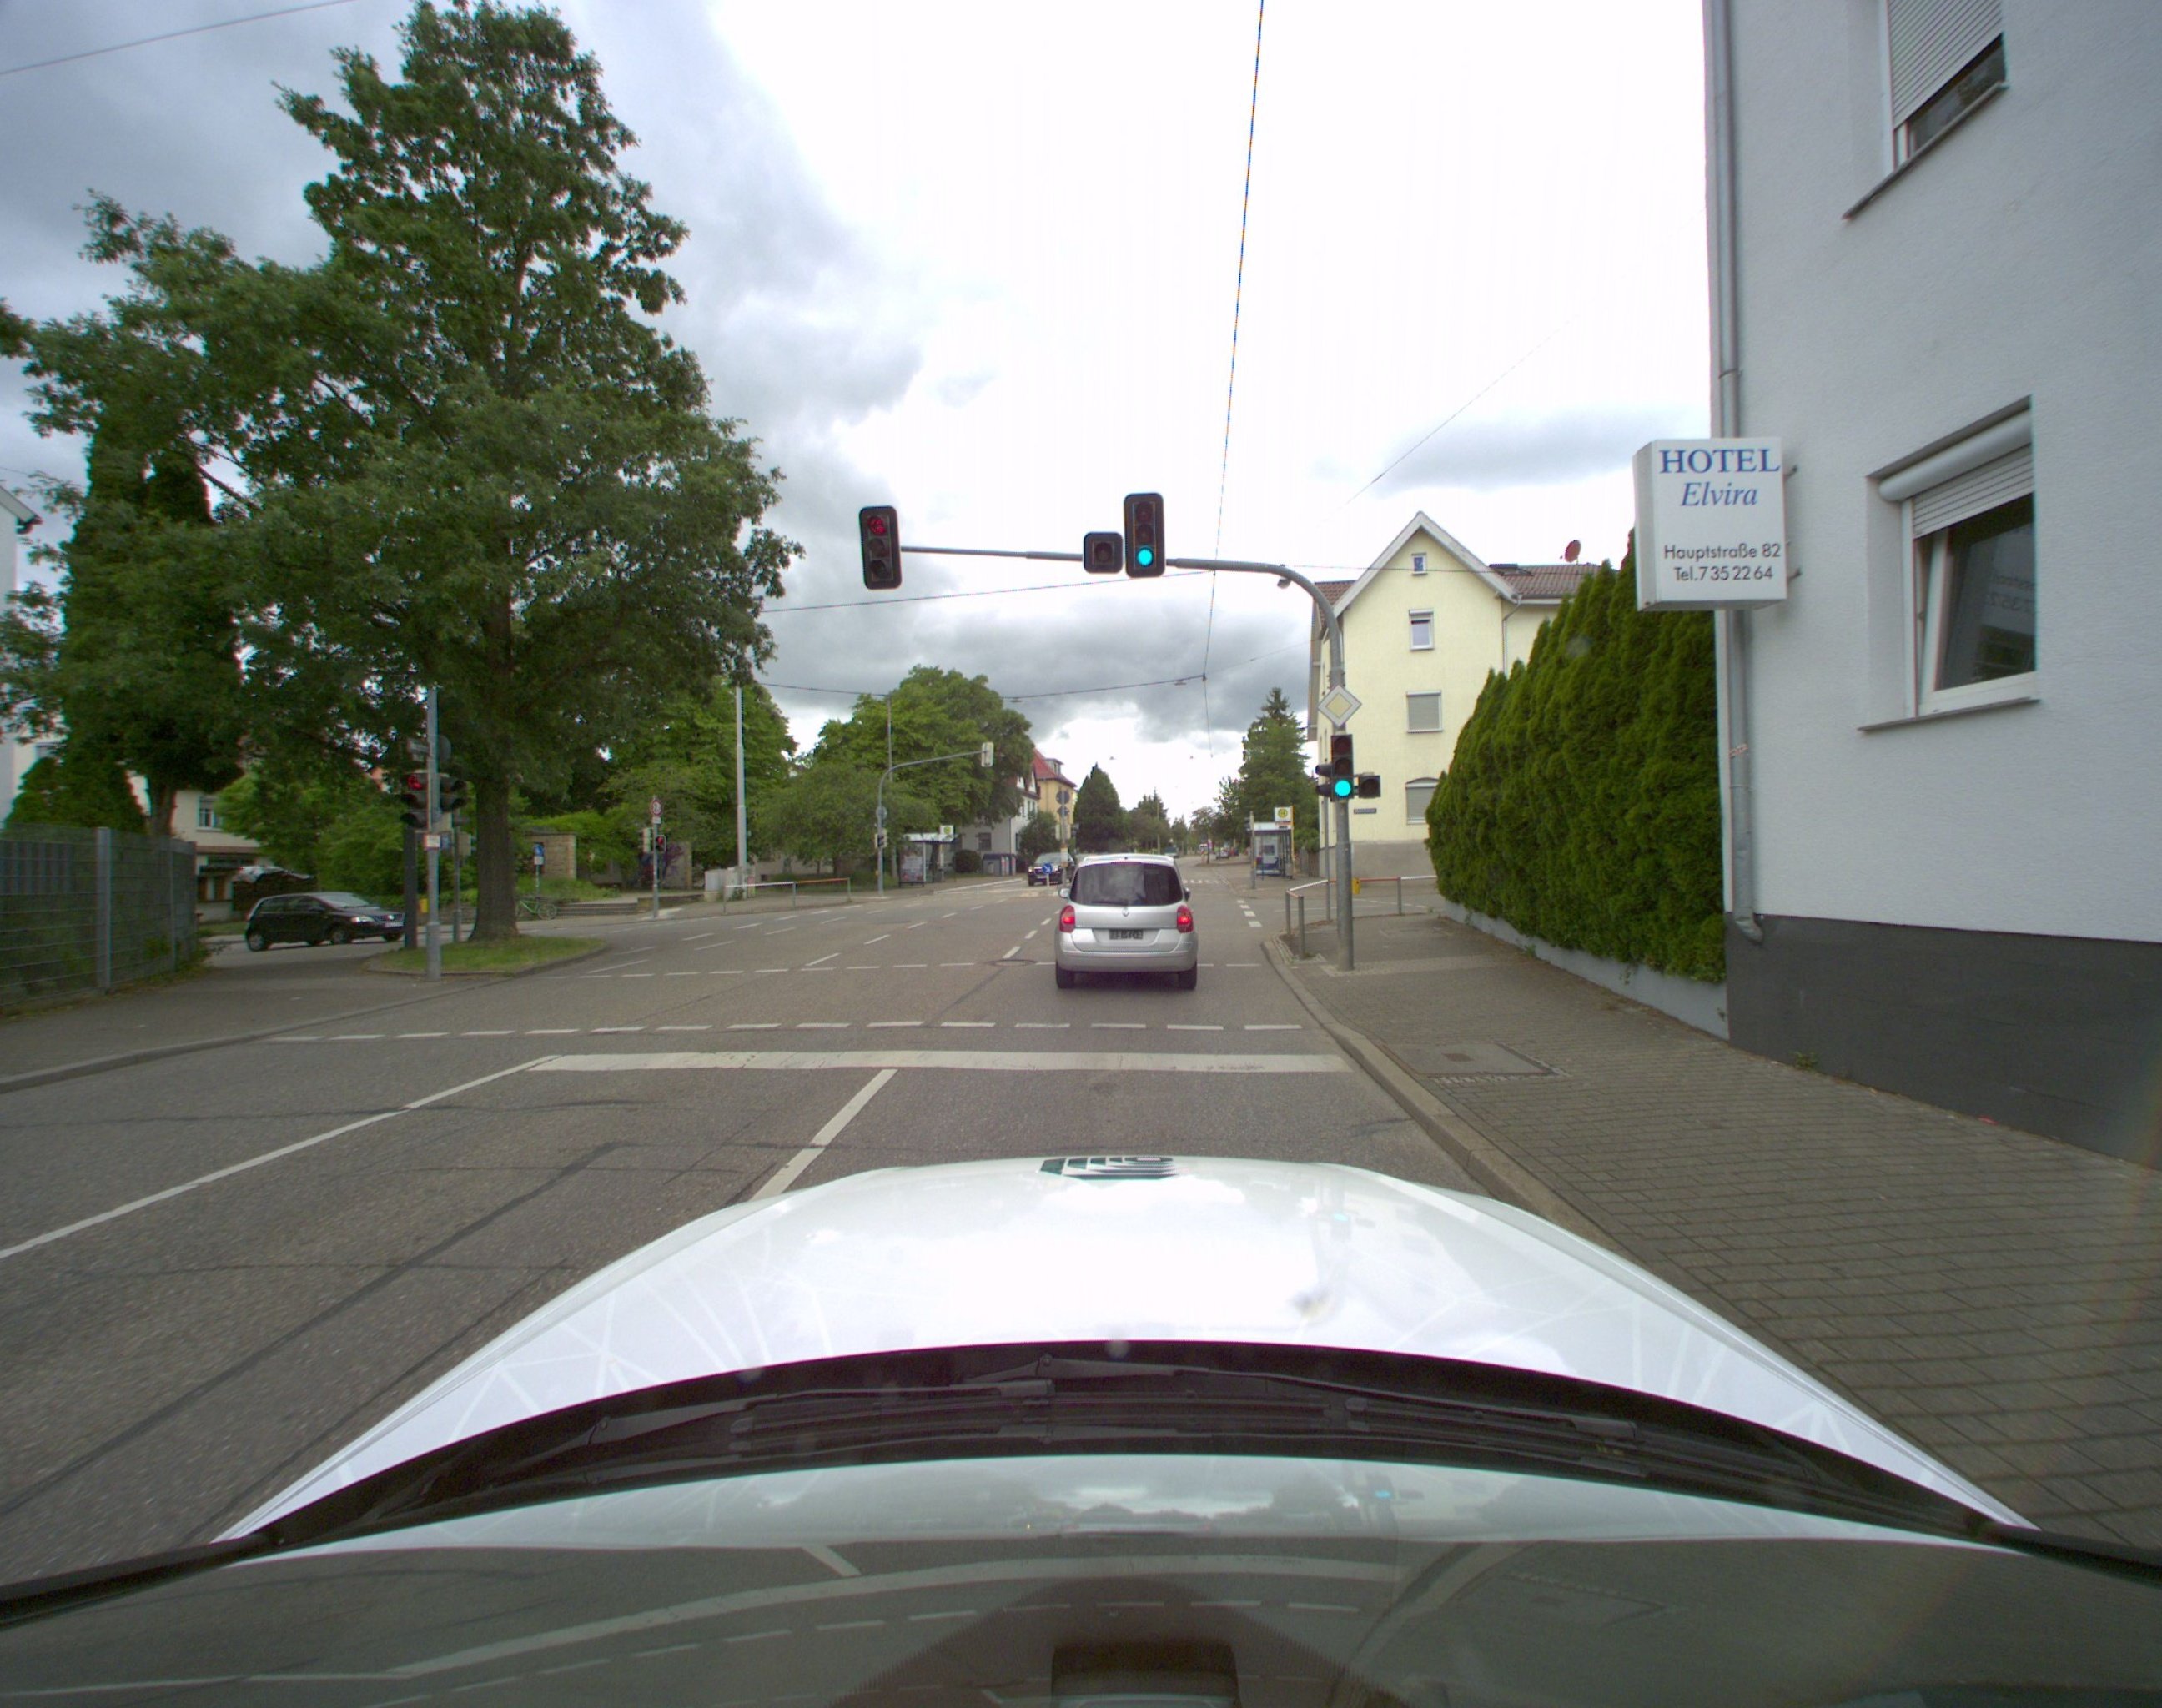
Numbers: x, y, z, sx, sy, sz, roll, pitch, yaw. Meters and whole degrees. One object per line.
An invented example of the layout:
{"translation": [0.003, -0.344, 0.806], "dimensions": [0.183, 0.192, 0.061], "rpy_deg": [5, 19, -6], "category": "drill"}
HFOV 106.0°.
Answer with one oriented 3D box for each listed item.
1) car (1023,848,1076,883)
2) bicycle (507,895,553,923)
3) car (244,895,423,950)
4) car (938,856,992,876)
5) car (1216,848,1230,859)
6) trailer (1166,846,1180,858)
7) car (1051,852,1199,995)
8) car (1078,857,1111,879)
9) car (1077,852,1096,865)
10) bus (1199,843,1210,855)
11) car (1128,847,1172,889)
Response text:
{"translation": [-1.605, 0.620, 43.666], "dimensions": [1.747, 1.635, 4.608], "rpy_deg": [-4, -2, 11], "category": "car"}
{"translation": [-20.588, 2.053, 30.460], "dimensions": [1.312, 0.942, 0.424], "rpy_deg": [-4, -1, -7], "category": "bicycle"}
{"translation": [-20.906, 1.901, 22.842], "dimensions": [3.613, 1.399, 1.776], "rpy_deg": [-1, -2, 8], "category": "car"}
{"translation": [-9.526, 1.006, 66.989], "dimensions": [3.963, 1.332, 1.726], "rpy_deg": [-4, -2, 9], "category": "car"}
{"translation": [19.793, -0.056, 113.390], "dimensions": [1.639, 1.382, 4.013], "rpy_deg": [-1, -1, 12], "category": "car"}
{"translation": [17.458, -0.349, 154.677], "dimensions": [2.297, 2.087, 5.889], "rpy_deg": [0, -1, 10], "category": "trailer"}
{"translation": [0.611, 0.787, 10.942], "dimensions": [1.623, 1.557, 4.004], "rpy_deg": [0, -1, 4], "category": "car"}
{"translation": [0.988, 0.944, 55.811], "dimensions": [1.554, 1.420, 4.142], "rpy_deg": [-2, -1, 10], "category": "car"}
{"translation": [0.723, 0.558, 105.003], "dimensions": [1.796, 1.564, 4.629], "rpy_deg": [-4, 0, 8], "category": "car"}
{"translation": [35.657, -1.497, 234.619], "dimensions": [2.615, 3.086, 12.105], "rpy_deg": [-3, 0, 10], "category": "bus"}
{"translation": [3.052, 0.600, 35.893], "dimensions": [1.820, 1.675, 3.579], "rpy_deg": [-2, 0, 5], "category": "car"}
